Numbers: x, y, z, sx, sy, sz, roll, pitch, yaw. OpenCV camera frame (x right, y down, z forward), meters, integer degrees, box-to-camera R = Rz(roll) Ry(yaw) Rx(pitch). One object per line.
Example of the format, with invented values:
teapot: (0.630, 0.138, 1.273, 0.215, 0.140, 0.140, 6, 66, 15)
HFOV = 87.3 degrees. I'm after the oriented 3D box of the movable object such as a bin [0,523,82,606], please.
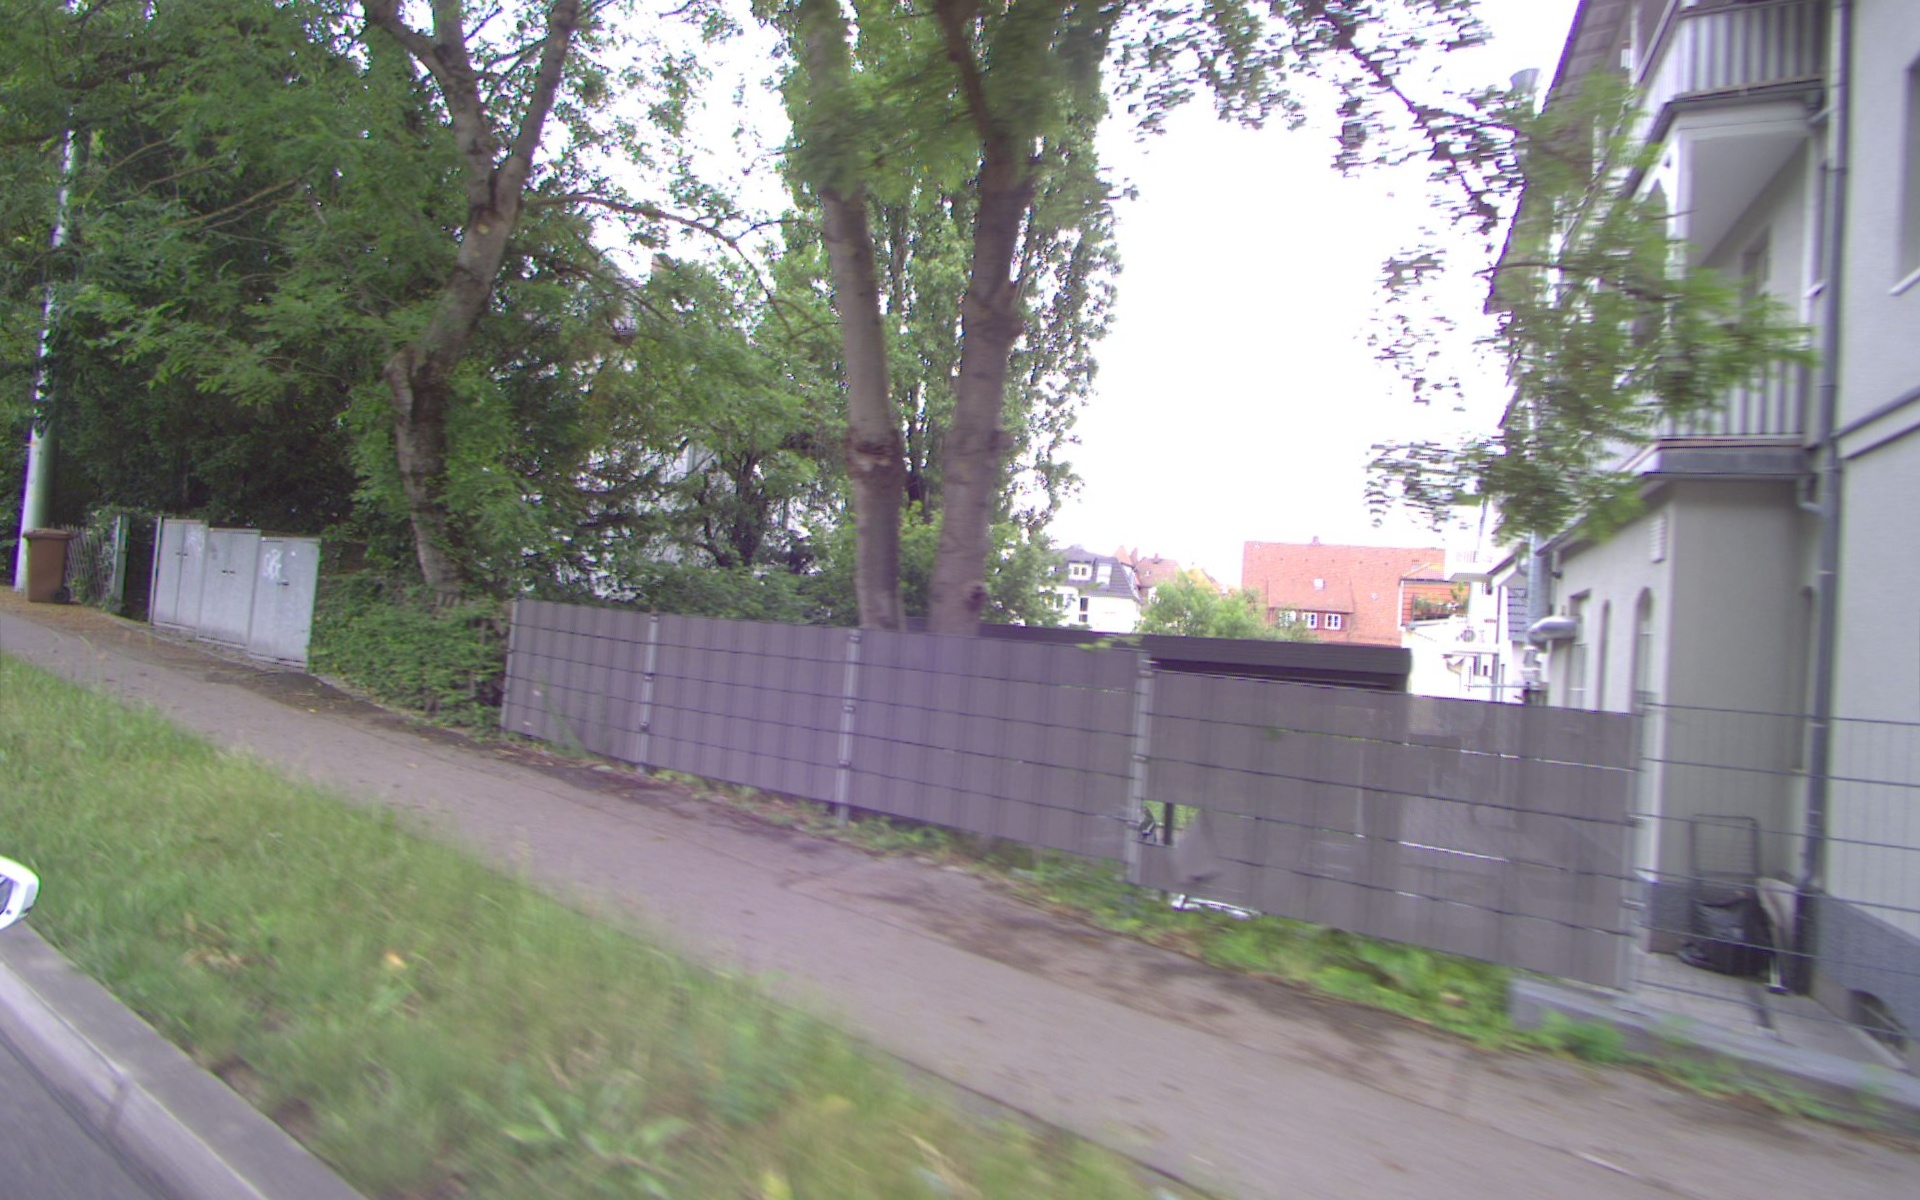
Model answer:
movable object such as a bin: (-11.796, -0.452, 12.916, 0.558, 0.958, 0.556, 7, -1, 31)
